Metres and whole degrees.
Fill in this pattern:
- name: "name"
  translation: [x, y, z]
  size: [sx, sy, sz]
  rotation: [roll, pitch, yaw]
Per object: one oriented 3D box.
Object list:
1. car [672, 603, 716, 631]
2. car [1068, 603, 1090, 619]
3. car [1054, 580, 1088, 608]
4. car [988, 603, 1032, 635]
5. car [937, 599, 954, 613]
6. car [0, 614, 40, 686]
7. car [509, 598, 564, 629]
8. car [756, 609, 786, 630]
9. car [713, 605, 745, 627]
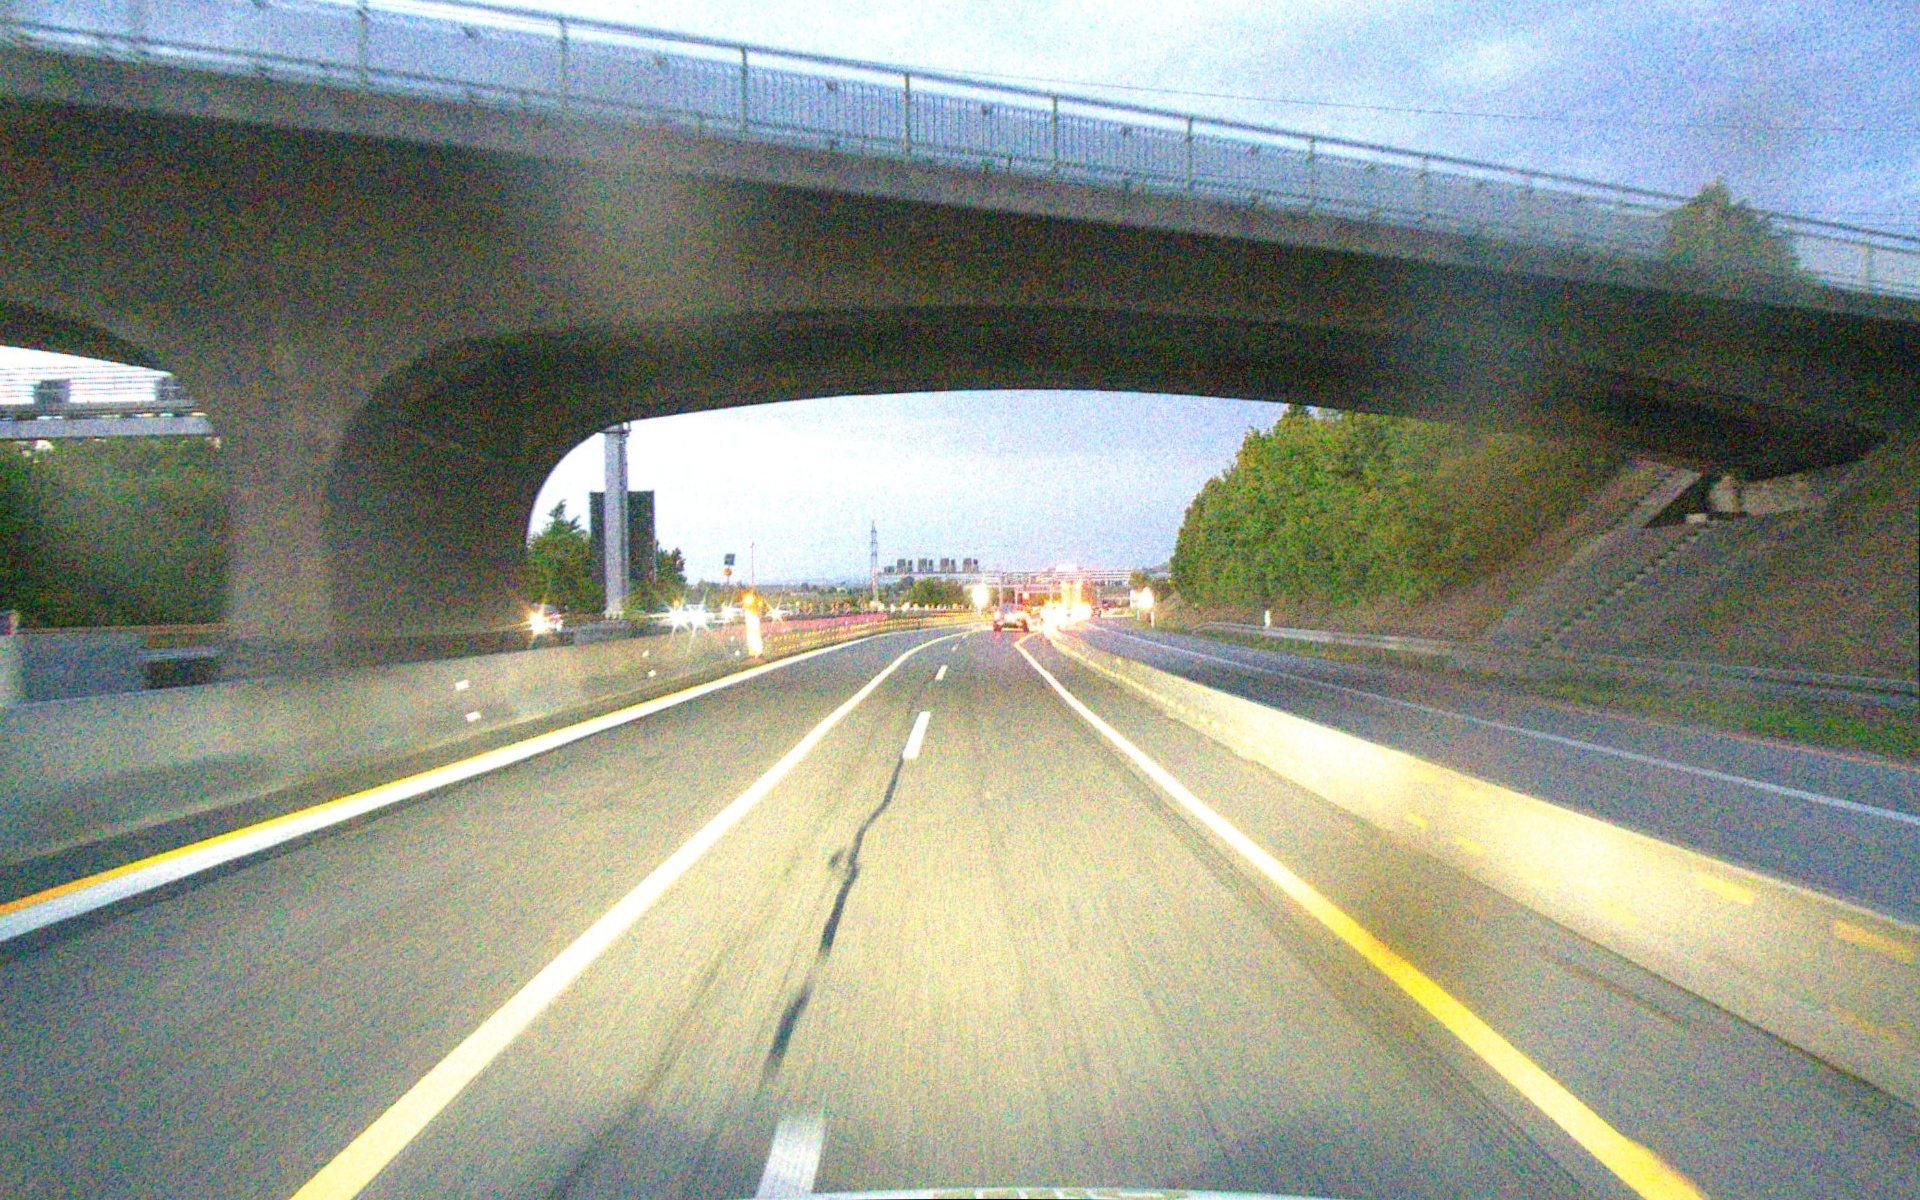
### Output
- name: "car"
  translation: [-17.211, 1.084, 107.354]
  size: [1.792, 1.690, 4.843]
  rotation: [2, 0, 3]
- name: "car"
  translation: [11.548, 1.092, 160.847]
  size: [1.931, 1.462, 4.001]
  rotation: [2, 0, 2]
- name: "car"
  translation: [14.345, -0.759, 214.467]
  size: [3.532, 3.455, 8.011]
  rotation: [2, 0, -2]
- name: "car"
  translation: [2.672, 1.010, 88.627]
  size: [2.219, 1.650, 4.000]
  rotation: [2, 0, 0]
- name: "car"
  translation: [-1.994, 0.850, 225.670]
  size: [1.951, 1.860, 4.002]
  rotation: [2, 0, 5]
- name: "car"
  translation: [-20.127, 0.989, 32.918]
  size: [1.593, 1.431, 3.520]
  rotation: [2, 0, 0]
- name: "car"
  translation: [-21.787, 0.688, 85.239]
  size: [1.667, 1.481, 3.931]
  rotation: [2, 0, 1]
- name: "car"
  translation: [-16.498, 1.697, 144.326]
  size: [1.792, 1.690, 4.843]
  rotation: [2, 0, 3]
- name: "car"
  translation: [-19.889, 1.380, 142.467]
  size: [1.867, 1.744, 3.945]
  rotation: [2, 0, 4]
